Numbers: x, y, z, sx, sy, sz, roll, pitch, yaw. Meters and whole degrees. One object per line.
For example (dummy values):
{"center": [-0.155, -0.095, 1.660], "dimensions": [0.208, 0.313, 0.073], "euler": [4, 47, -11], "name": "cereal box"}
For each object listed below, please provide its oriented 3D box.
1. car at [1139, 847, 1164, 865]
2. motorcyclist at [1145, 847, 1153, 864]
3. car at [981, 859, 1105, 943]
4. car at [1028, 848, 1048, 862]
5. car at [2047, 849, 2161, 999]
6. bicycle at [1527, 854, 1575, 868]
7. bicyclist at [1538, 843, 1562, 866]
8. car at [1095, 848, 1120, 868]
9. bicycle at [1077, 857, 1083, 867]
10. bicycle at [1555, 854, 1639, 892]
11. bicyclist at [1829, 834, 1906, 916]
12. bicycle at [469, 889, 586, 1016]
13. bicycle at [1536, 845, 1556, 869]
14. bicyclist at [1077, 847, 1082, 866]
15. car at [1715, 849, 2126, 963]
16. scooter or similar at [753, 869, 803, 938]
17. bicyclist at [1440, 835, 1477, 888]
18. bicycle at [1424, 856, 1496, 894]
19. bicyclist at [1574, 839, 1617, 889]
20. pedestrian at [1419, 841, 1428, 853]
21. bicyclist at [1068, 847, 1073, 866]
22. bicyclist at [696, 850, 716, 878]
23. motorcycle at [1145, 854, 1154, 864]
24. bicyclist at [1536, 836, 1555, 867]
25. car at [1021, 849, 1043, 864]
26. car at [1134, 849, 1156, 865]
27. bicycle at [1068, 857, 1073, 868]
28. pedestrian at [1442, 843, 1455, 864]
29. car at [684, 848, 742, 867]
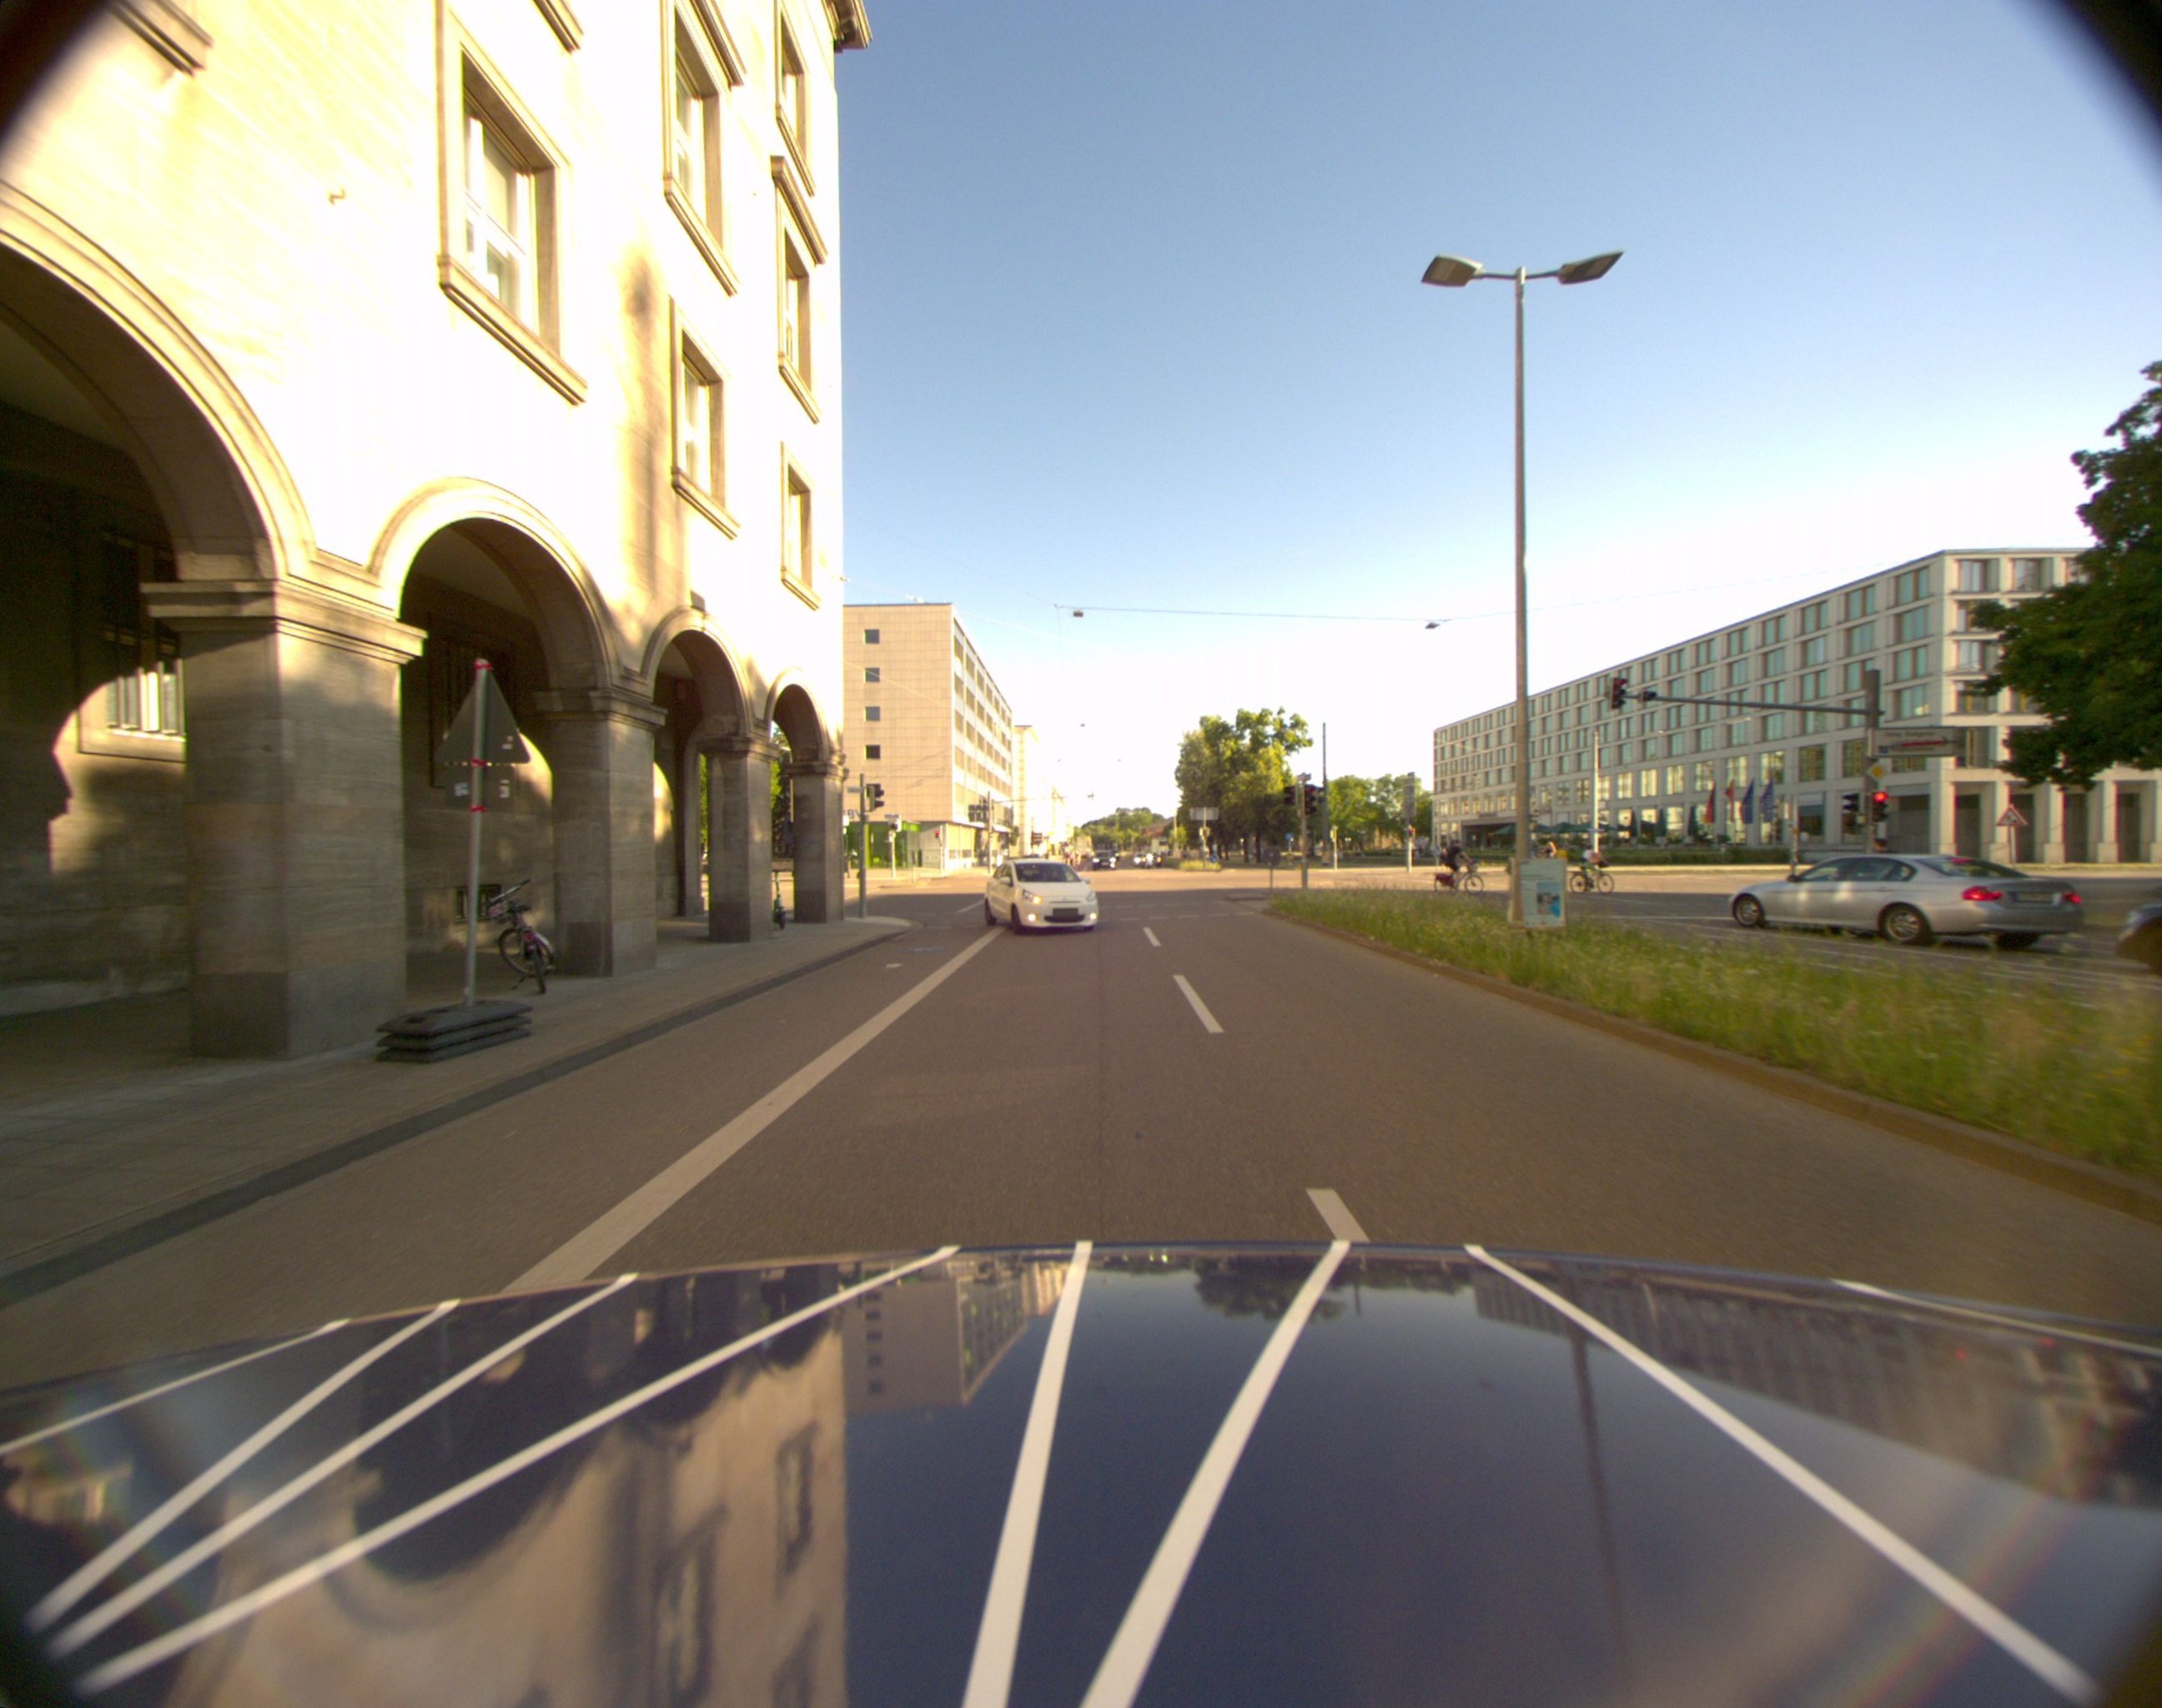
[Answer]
{"center": [6.466, 0.147, 70.153], "dimensions": [1.998, 1.564, 4.549], "euler": [-1, 1, 2], "name": "car"}
{"center": [5.789, 0.140, 64.512], "dimensions": [0.607, 1.438, 0.736], "euler": [-1, 1, -2], "name": "motorcyclist"}
{"center": [-0.927, 0.883, 16.049], "dimensions": [1.681, 1.455, 3.759], "euler": [-2, 1, -18], "name": "car"}
{"center": [-5.049, 0.082, 89.777], "dimensions": [1.998, 1.564, 4.549], "euler": [-1, 1, 2], "name": "car"}
{"center": [13.093, 0.794, 7.257], "dimensions": [1.998, 1.666, 4.549], "euler": [-1, 1, 2], "name": "car"}
{"center": [28.171, 0.410, 45.561], "dimensions": [2.334, 0.846, 0.843], "euler": [-1, 1, 1], "name": "bicycle"}
{"center": [28.095, 0.050, 45.544], "dimensions": [0.972, 1.354, 0.827], "euler": [-1, 1, 2], "name": "bicyclist"}
{"center": [2.242, 0.286, 64.272], "dimensions": [1.998, 1.564, 4.549], "euler": [-1, 1, 2], "name": "car"}
{"center": [-0.116, 0.657, 62.902], "dimensions": [0.452, 0.869, 1.385], "euler": [-1, 1, 2], "name": "bicycle"}
{"center": [17.654, 0.649, 26.052], "dimensions": [2.310, 1.233, 0.778], "euler": [-1, 3, 1], "name": "bicycle"}
{"center": [16.434, 0.423, 15.903], "dimensions": [0.782, 1.669, 0.839], "euler": [1, 1, 16], "name": "bicyclist"}
{"center": [-5.958, 0.986, 8.148], "dimensions": [1.708, 1.126, 0.665], "euler": [2, 1, 42], "name": "bicycle"}
{"center": [24.820, 0.137, 40.584], "dimensions": [0.844, 1.223, 2.018], "euler": [0, 1, 31], "name": "bicycle"}
{"center": [-0.121, 0.191, 62.828], "dimensions": [0.453, 1.567, 0.535], "euler": [-1, 1, 2], "name": "bicyclist"}
{"center": [13.589, 0.711, 12.860], "dimensions": [1.998, 1.552, 4.549], "euler": [-1, 1, 2], "name": "car"}
{"center": [-5.907, 0.930, 14.768], "dimensions": [0.643, 1.216, 1.261], "euler": [1, 1, -33], "name": "scooter or similar"}
{"center": [12.690, 0.245, 25.543], "dimensions": [0.838, 1.734, 0.754], "euler": [0, 3, 1], "name": "bicyclist"}
{"center": [12.745, 0.693, 25.566], "dimensions": [2.019, 1.233, 0.778], "euler": [-1, 3, 1], "name": "bicycle"}
{"center": [17.622, 0.327, 26.032], "dimensions": [0.924, 1.681, 0.775], "euler": [-1, 3, 1], "name": "bicyclist"}
{"center": [42.759, -0.908, 94.774], "dimensions": [0.784, 1.517, 0.762], "euler": [-1, 1, 2], "name": "pedestrian"}
{"center": [-0.833, 0.178, 62.697], "dimensions": [0.358, 1.567, 0.535], "euler": [-1, 1, 2], "name": "bicyclist"}
{"center": [-23.621, 0.639, 47.821], "dimensions": [0.948, 1.682, 0.762], "euler": [-2, 5, -42], "name": "bicyclist"}
{"center": [5.779, 0.437, 64.421], "dimensions": [0.623, 0.791, 1.309], "euler": [-1, 1, 0], "name": "motorcycle"}
{"center": [24.793, -0.149, 40.543], "dimensions": [0.850, 1.610, 0.974], "euler": [0, 1, 31], "name": "bicyclist"}
{"center": [-5.387, 0.211, 83.721], "dimensions": [1.998, 1.564, 4.549], "euler": [-1, 1, 2], "name": "car"}
{"center": [6.686, 0.335, 79.461], "dimensions": [1.998, 1.564, 4.549], "euler": [-1, 1, 2], "name": "car"}
{"center": [-0.828, 0.664, 62.710], "dimensions": [0.351, 0.869, 1.385], "euler": [-1, 1, 2], "name": "bicycle"}
{"center": [26.035, -0.028, 53.888], "dimensions": [0.623, 1.517, 0.603], "euler": [-1, 1, -3], "name": "pedestrian"}
{"center": [-30.989, 0.276, 64.099], "dimensions": [3.998, 1.576, 1.739], "euler": [0, 3, -3], "name": "car"}
